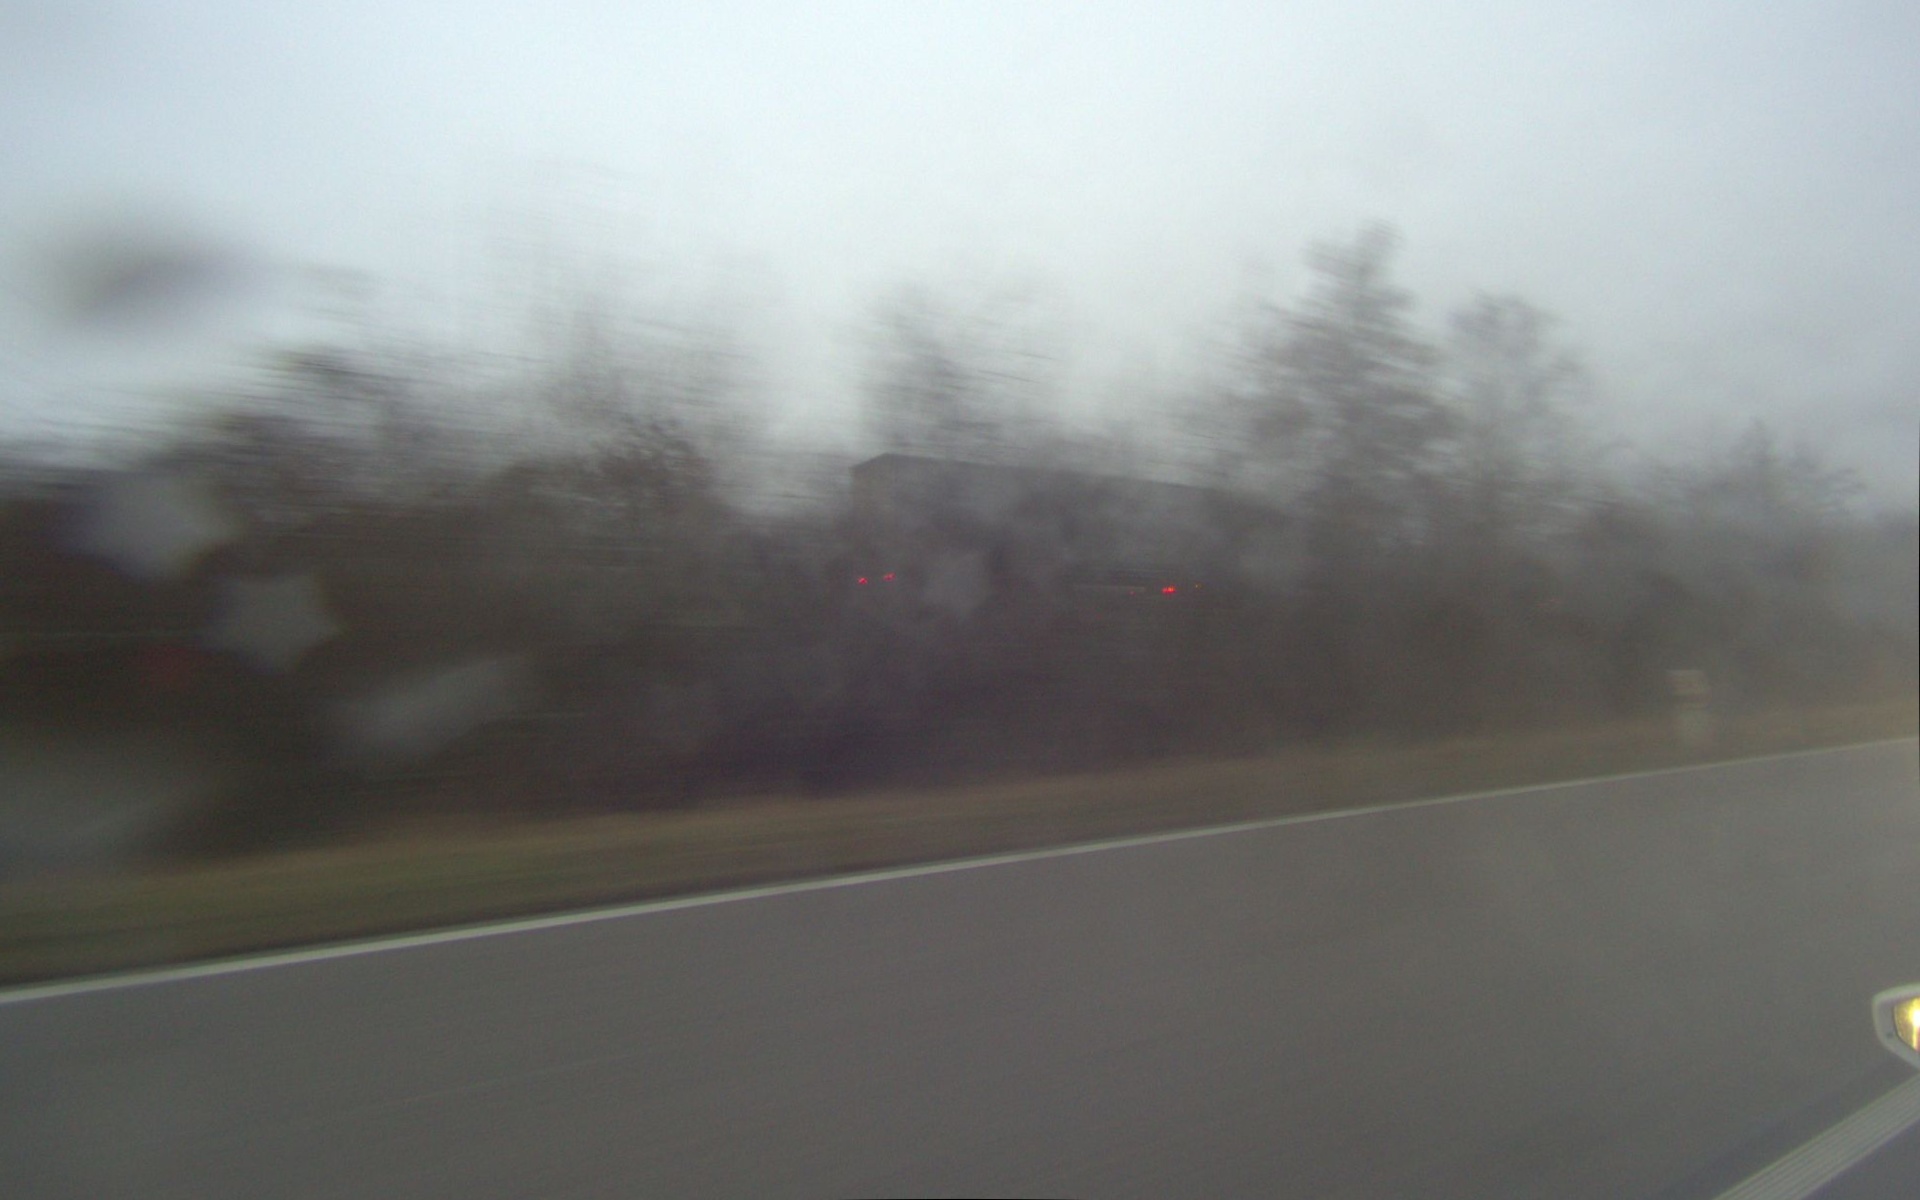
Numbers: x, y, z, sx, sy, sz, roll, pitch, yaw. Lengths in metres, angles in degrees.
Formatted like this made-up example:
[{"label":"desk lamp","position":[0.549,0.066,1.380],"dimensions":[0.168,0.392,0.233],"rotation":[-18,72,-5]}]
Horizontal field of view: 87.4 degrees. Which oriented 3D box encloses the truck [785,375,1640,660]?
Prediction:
[{"label":"truck","position":[13.110,-1.765,40.775],"dimensions":[39.675,7.815,7.508],"rotation":[2,0,-30]}]
